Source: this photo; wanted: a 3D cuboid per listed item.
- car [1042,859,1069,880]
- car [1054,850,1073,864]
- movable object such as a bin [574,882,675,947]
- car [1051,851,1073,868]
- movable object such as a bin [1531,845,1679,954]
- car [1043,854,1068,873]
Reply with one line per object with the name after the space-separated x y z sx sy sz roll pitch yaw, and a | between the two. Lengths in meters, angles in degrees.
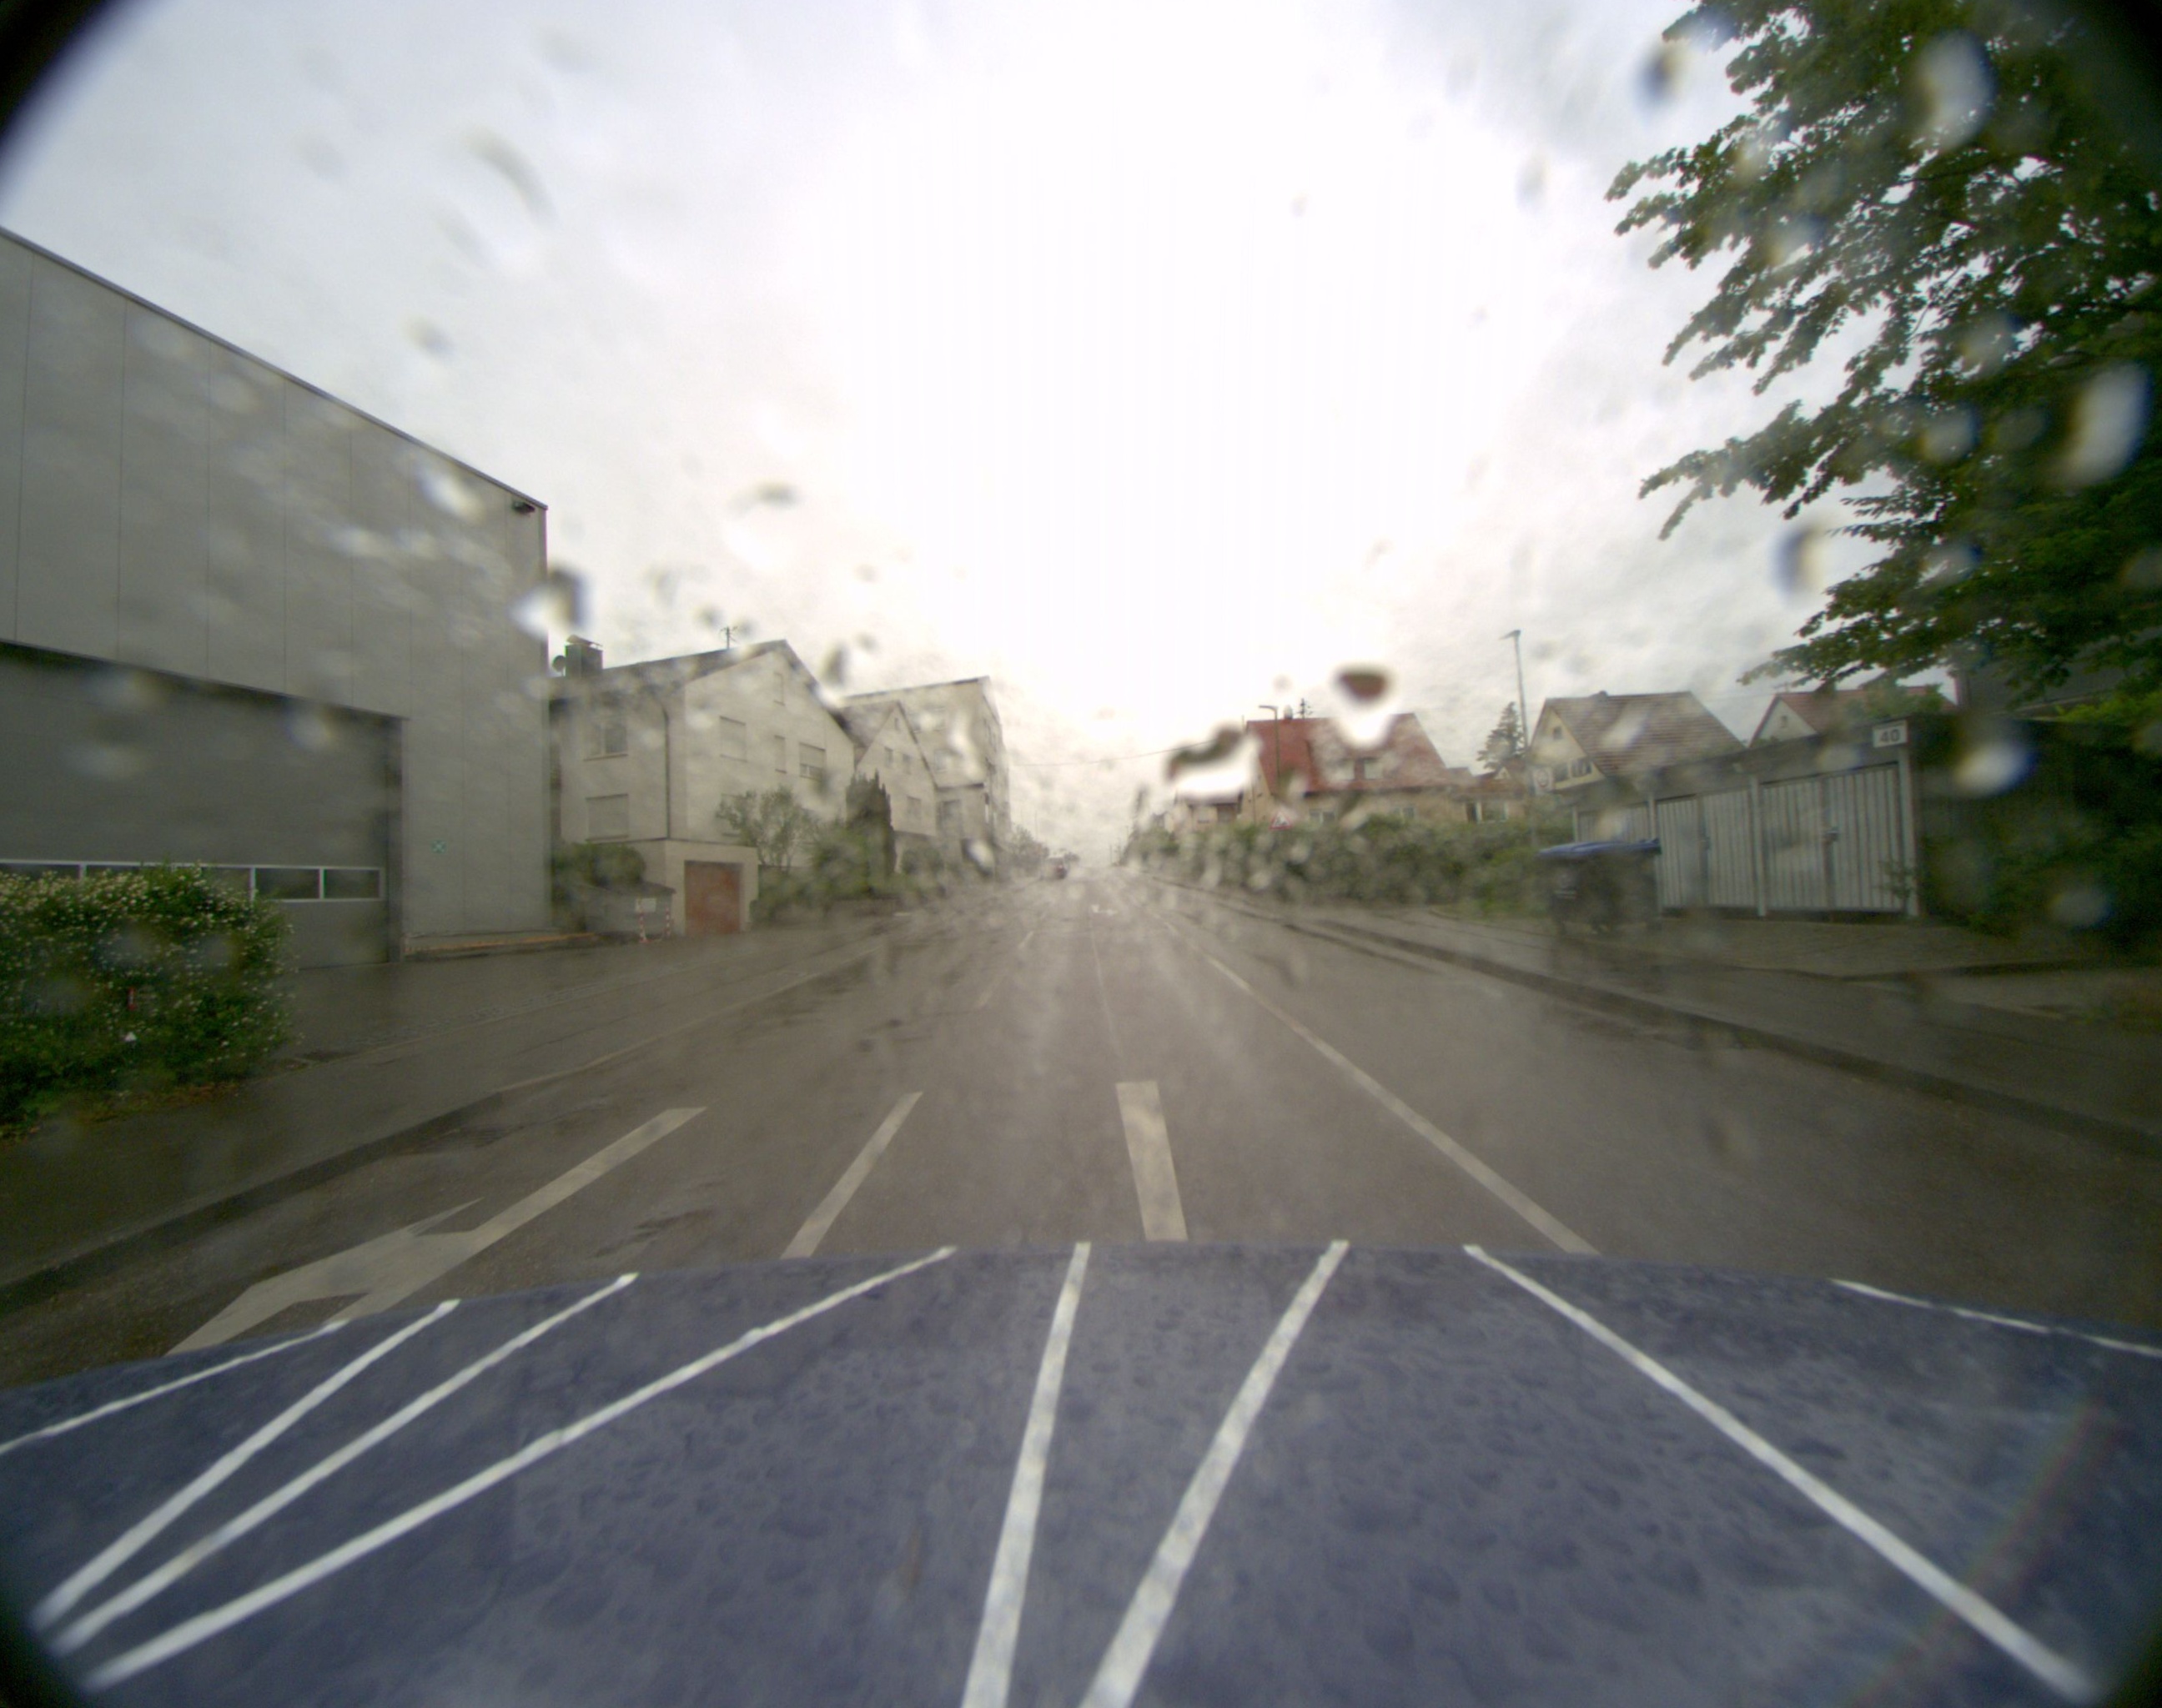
-2.041 1.241 61.383 1.848 1.514 4.001 -2 0 2 | car
-1.936 0.327 85.957 1.848 1.514 4.001 -2 0 2 | car
-11.547 1.515 19.275 1.446 1.526 1.591 -2 -1 16 | movable object such as a bin
-1.843 0.545 73.524 1.848 1.514 4.001 -2 0 2 | car
7.146 0.606 10.443 1.056 1.289 1.201 -7 -1 1 | movable object such as a bin
-2.157 0.820 66.083 1.848 1.514 4.001 -2 0 2 | car
